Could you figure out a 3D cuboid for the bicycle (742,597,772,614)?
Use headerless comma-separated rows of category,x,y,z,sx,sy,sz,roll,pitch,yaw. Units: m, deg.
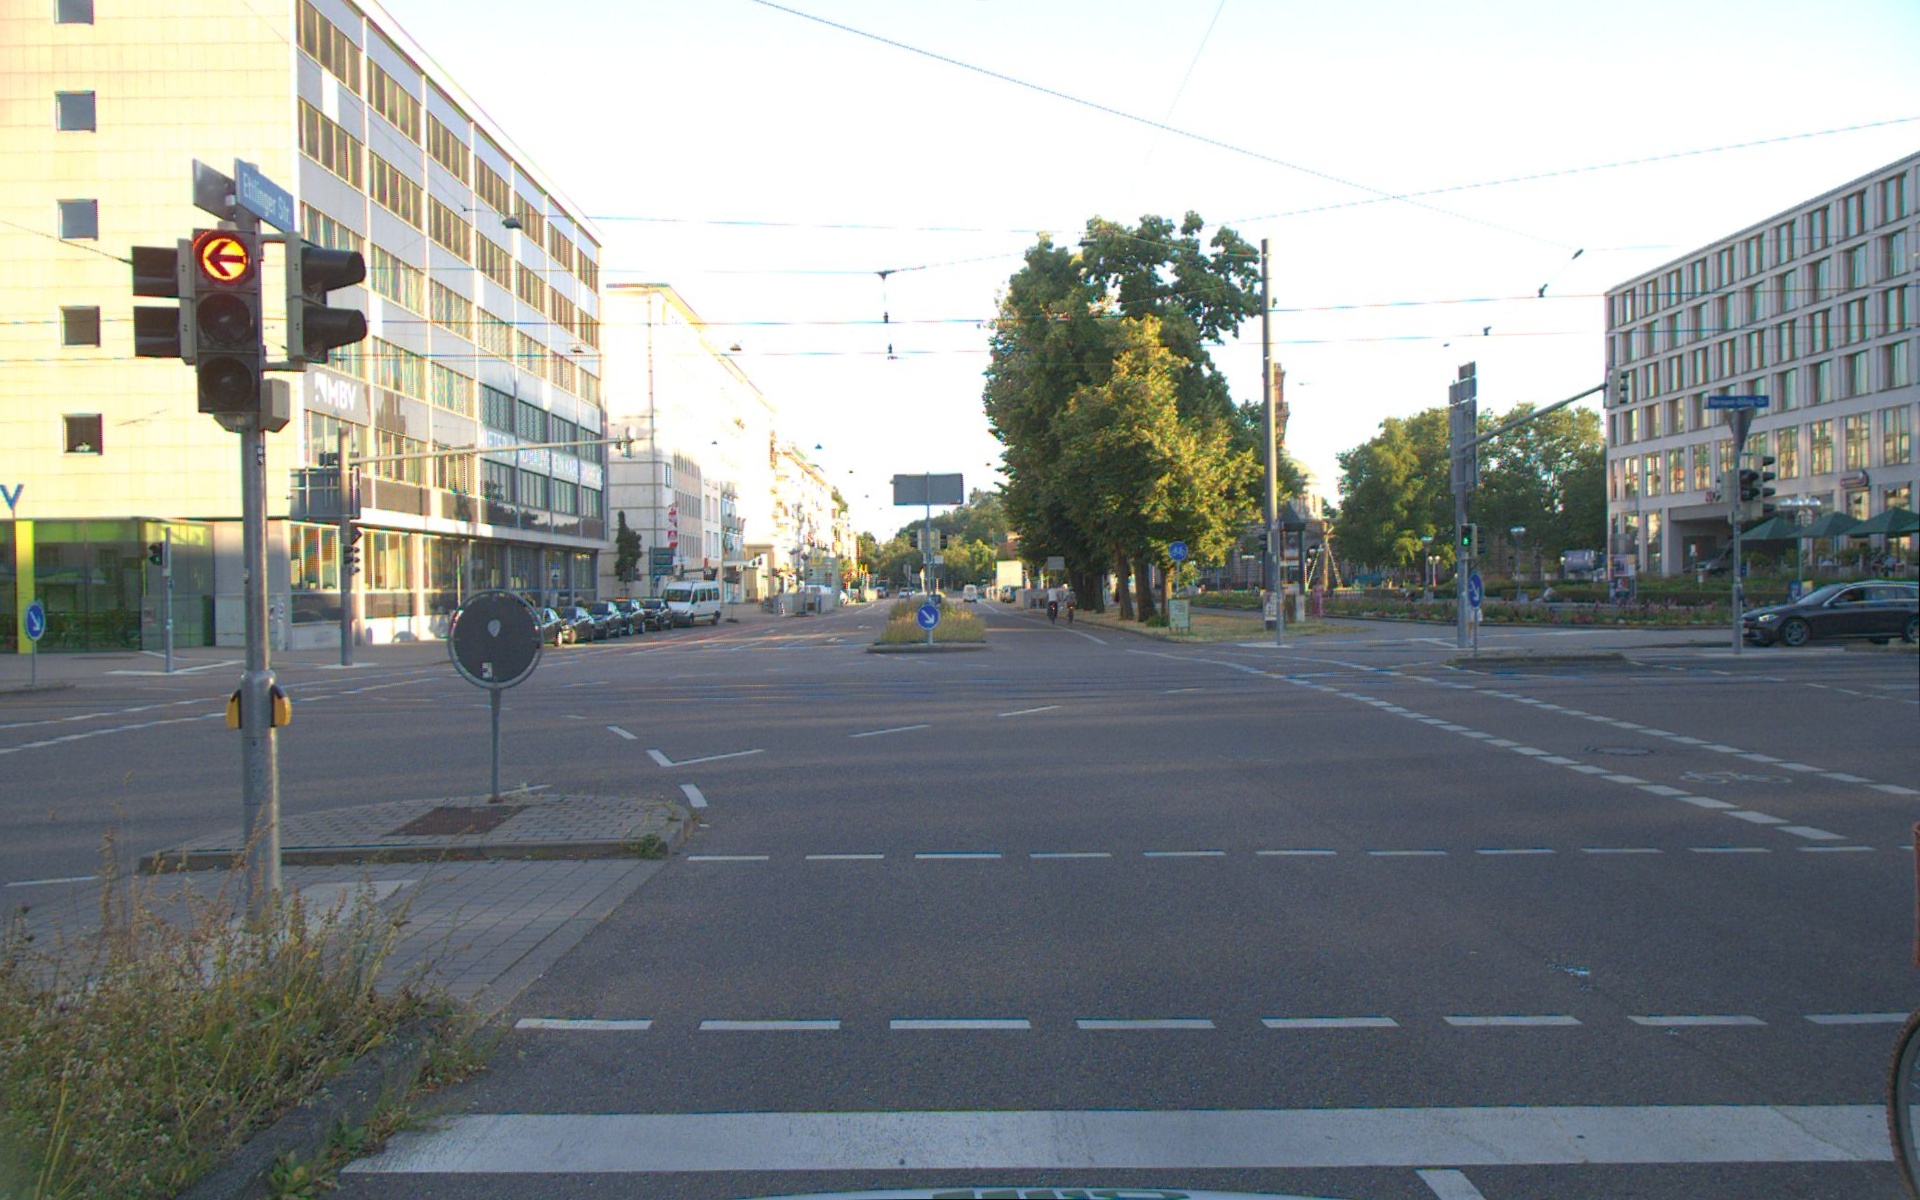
bicycle,-15.789,0.407,128.625,2.161,1.258,0.839,-1,0,-2

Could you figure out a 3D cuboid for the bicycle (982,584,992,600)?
bicycle,3.425,-1.001,208.212,0.981,2.049,4.002,-1,0,4

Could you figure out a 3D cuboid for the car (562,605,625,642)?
car,-16.137,1.010,72.981,1.882,1.489,3.999,-1,0,-1

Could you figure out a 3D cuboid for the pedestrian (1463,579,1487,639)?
pedestrian,13.635,0.226,43.793,0.480,1.566,0.408,-1,0,-1

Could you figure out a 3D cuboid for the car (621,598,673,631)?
car,-15.960,0.730,84.517,1.882,1.595,3.999,-1,0,-1

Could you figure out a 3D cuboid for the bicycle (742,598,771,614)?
bicycle,-15.579,0.474,126.759,2.161,1.131,0.689,-1,0,-2

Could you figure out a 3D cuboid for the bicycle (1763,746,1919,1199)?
bicycle,2.182,0.923,2.848,0.599,1.152,2.004,1,0,-1

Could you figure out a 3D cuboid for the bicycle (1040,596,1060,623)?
bicycle,4.075,0.422,75.150,0.731,1.164,2.505,-1,0,-1

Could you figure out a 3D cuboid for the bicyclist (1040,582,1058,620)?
bicyclist,4.044,0.035,74.951,0.731,1.692,0.873,-1,0,-1

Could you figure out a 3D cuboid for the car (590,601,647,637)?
car,-16.133,0.879,78.285,1.882,1.595,3.999,-1,0,-1

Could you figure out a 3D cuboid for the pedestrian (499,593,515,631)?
pedestrian,-20.740,0.534,75.744,0.540,1.708,0.500,-1,0,-1

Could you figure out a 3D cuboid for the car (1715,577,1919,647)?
car,21.044,0.265,39.934,4.724,1.542,2.000,-1,0,1

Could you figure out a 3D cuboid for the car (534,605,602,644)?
car,-16.117,0.990,68.167,1.882,1.489,3.999,-1,0,-1

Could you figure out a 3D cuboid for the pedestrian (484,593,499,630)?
pedestrian,-21.339,0.522,75.326,0.540,1.708,0.500,-1,0,-1

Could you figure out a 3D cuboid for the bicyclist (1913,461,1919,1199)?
bicyclist,2.189,0.563,2.777,0.587,1.665,0.998,1,0,-1

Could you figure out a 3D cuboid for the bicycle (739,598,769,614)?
bicycle,-15.590,0.463,125.255,2.161,1.131,0.618,-1,0,-3

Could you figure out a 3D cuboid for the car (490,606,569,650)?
car,-16.008,1.030,61.672,1.882,1.489,4.102,-1,0,-1

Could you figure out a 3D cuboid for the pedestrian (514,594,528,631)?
pedestrian,-20.174,0.563,76.018,0.490,1.708,0.500,-1,0,-1

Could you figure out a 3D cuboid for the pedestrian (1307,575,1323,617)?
pedestrian,14.485,-0.161,67.495,0.451,1.685,0.566,-1,0,-1

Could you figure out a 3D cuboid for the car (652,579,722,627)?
car,-14.942,0.142,90.992,1.958,2.521,5.873,-1,0,9

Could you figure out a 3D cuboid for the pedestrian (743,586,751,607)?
pedestrian,-21.174,-0.360,164.391,0.666,2.049,0.545,-1,0,-1

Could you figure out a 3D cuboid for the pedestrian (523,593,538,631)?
pedestrian,-19.605,0.560,75.477,0.540,1.708,0.500,-1,0,-1

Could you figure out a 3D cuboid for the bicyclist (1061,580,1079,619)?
bicyclist,4.985,-0.028,75.004,0.731,1.720,0.799,-1,0,-1

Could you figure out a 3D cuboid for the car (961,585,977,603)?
car,0.888,-0.606,160.090,1.379,1.670,3.998,-1,0,-2

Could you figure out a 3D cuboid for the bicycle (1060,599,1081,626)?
bicycle,4.998,0.569,75.198,0.731,1.164,2.505,-1,0,-1
